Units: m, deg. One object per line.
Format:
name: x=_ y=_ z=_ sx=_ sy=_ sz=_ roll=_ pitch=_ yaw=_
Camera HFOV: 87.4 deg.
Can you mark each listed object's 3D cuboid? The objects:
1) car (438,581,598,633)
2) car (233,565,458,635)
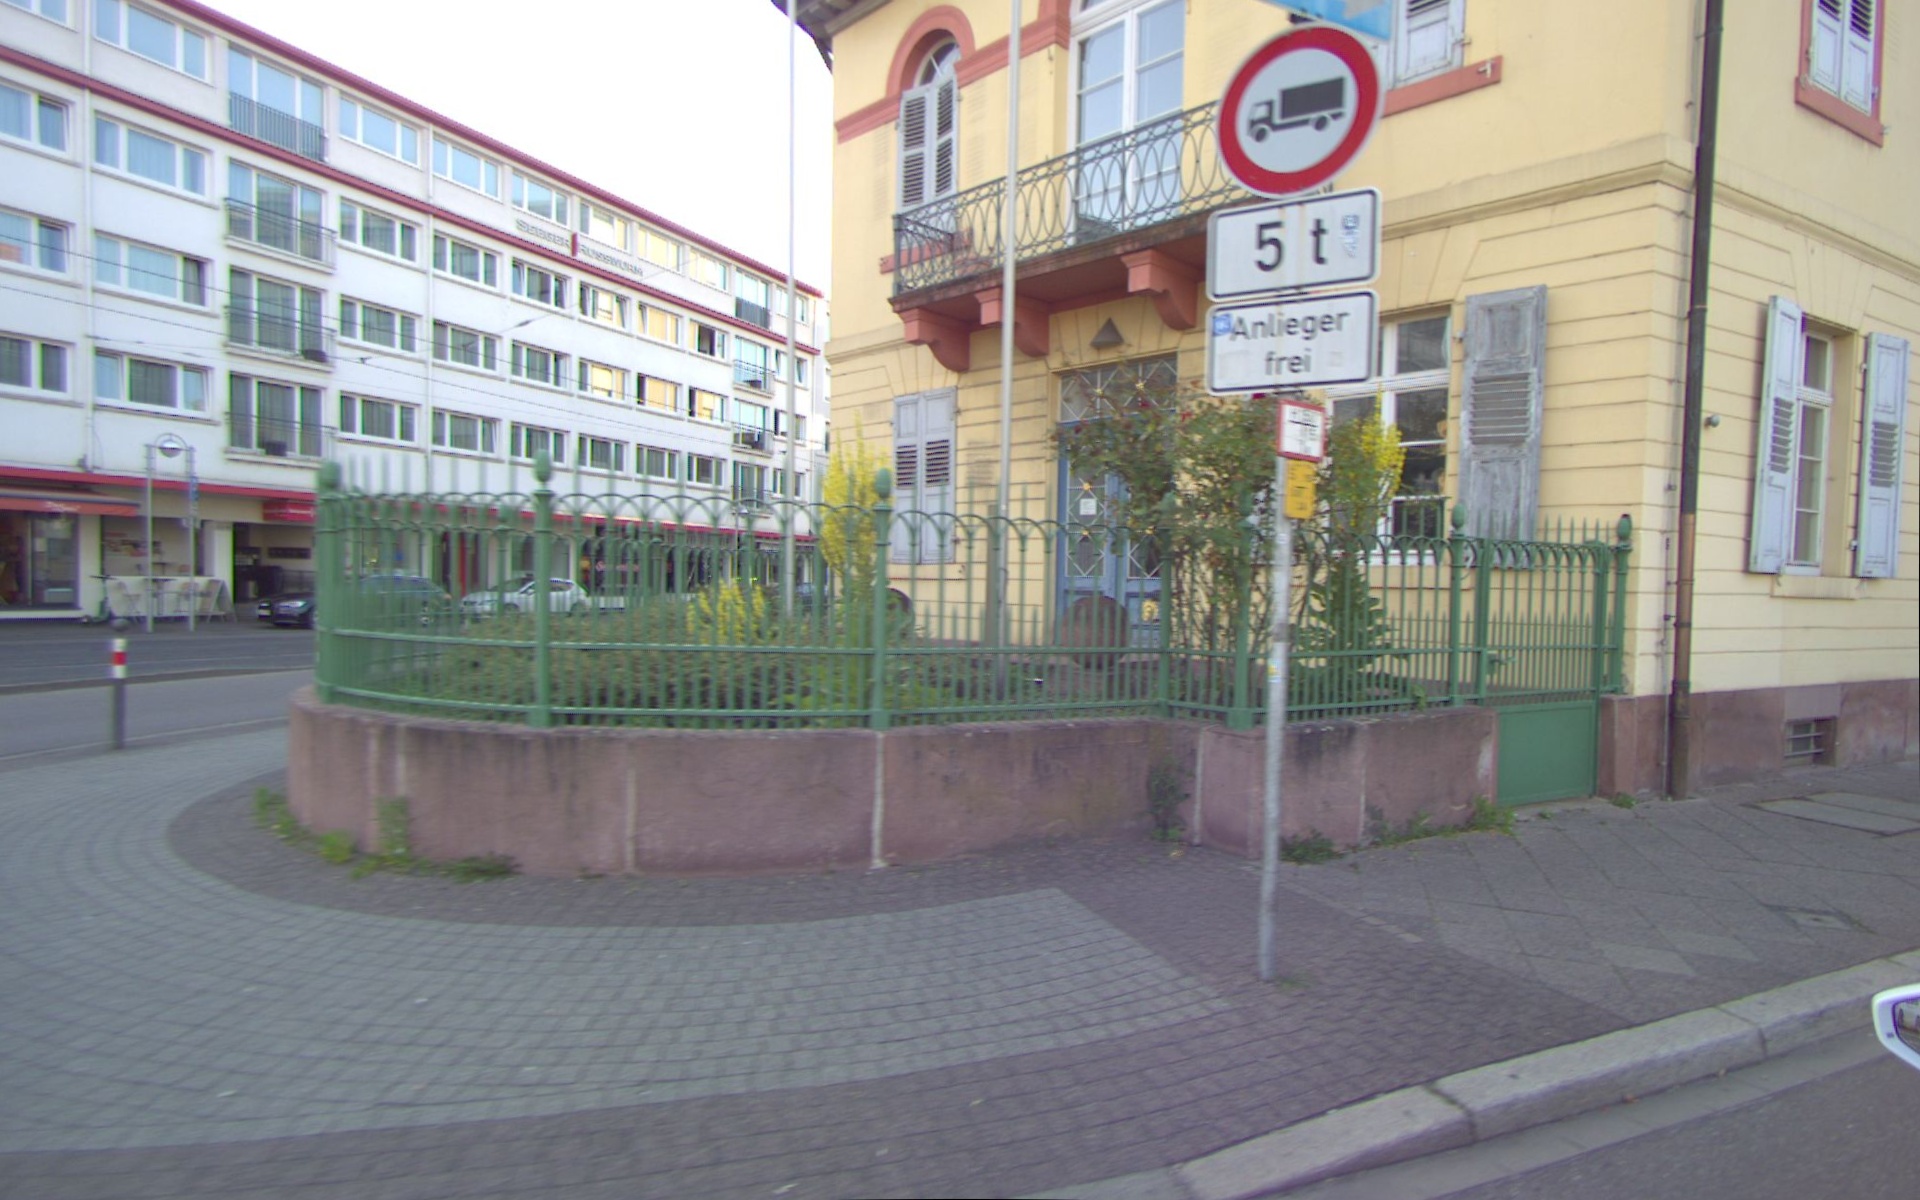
car: x=-14.019 y=0.173 z=32.091 sx=1.964 sy=1.484 sz=4.393 roll=2 pitch=2 yaw=30
car: x=-16.406 y=-0.012 z=27.106 sx=1.964 sy=1.688 sz=4.830 roll=2 pitch=1 yaw=30
